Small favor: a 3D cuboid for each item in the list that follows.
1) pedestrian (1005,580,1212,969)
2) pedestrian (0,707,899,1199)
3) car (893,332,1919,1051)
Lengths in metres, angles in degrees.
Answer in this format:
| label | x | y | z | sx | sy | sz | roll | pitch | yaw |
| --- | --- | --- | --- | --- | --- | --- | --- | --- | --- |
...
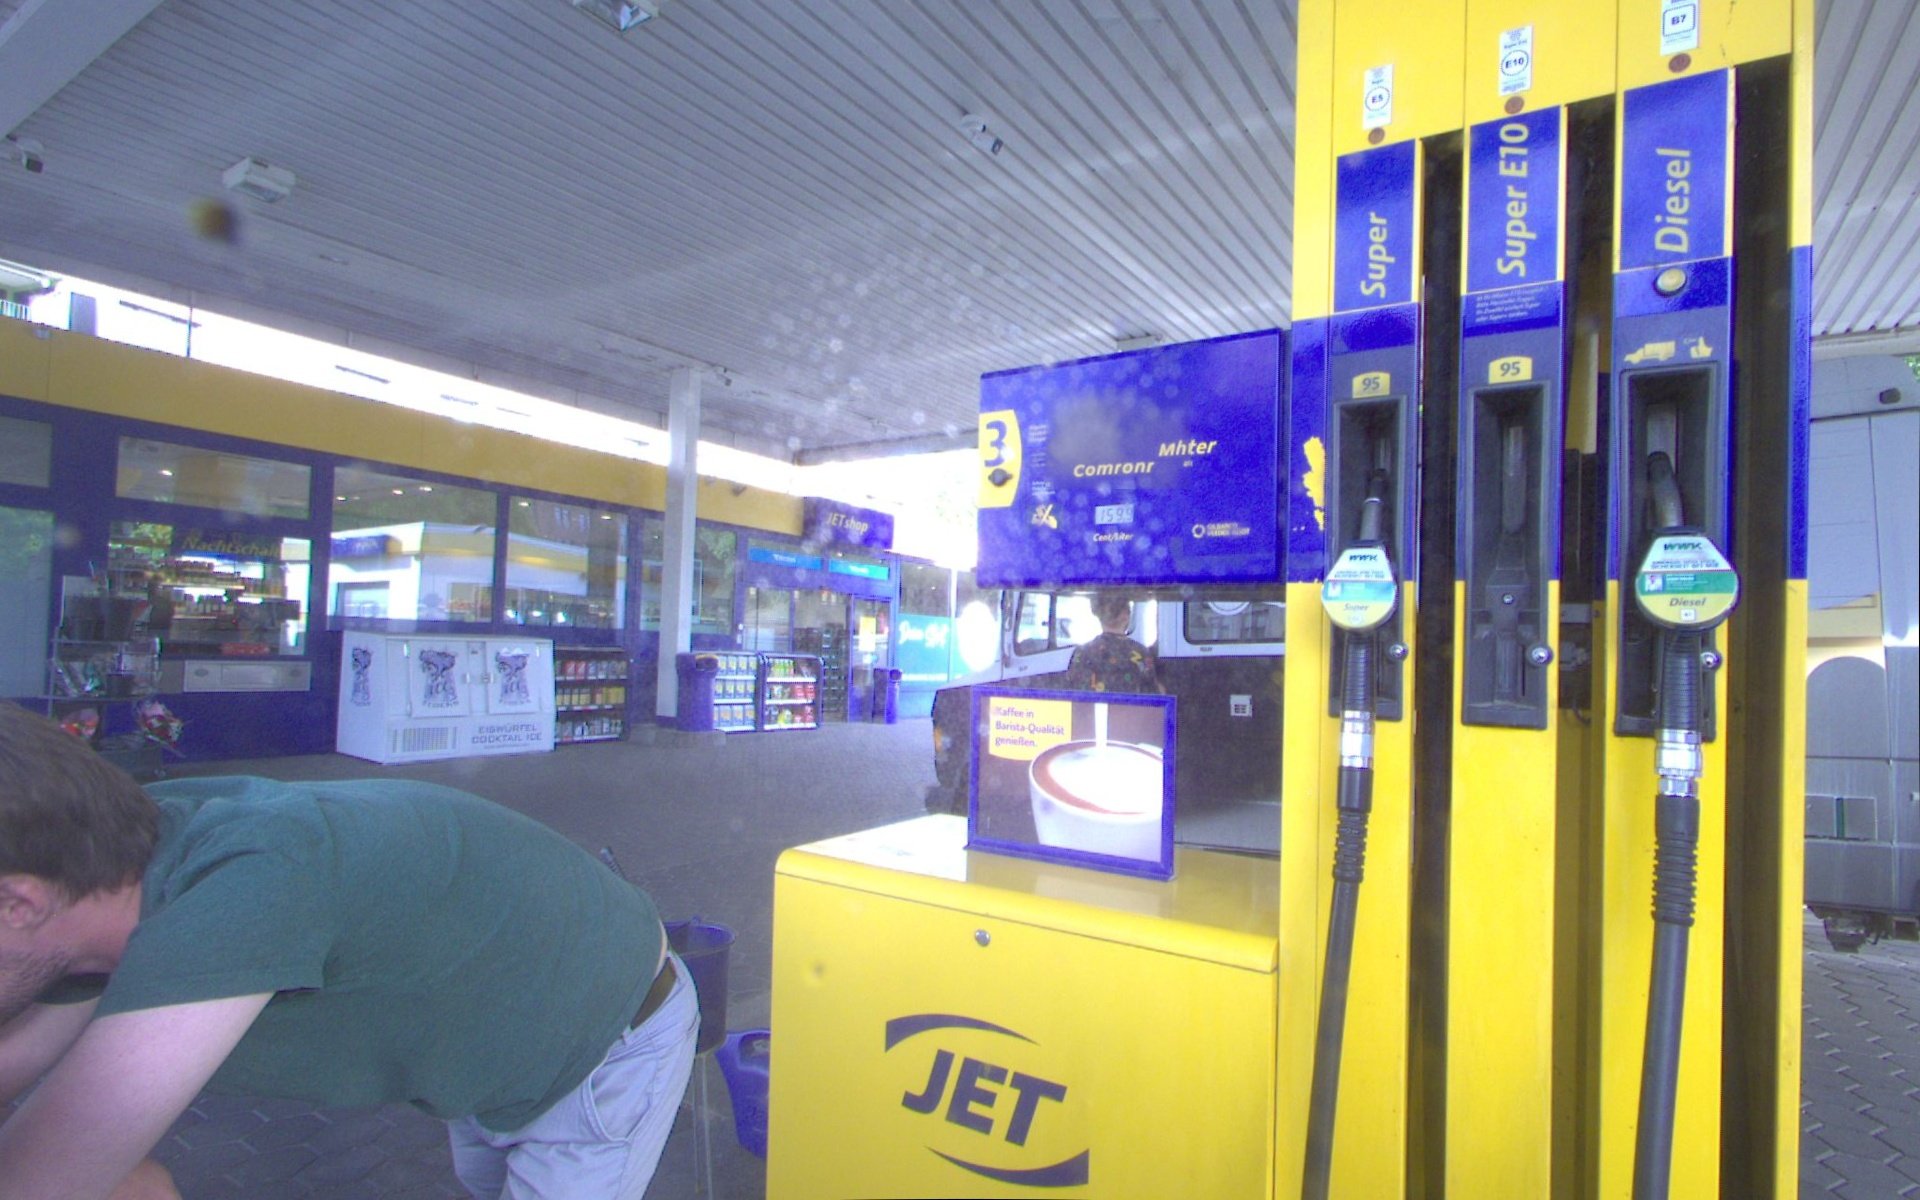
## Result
| label | x | y | z | sx | sy | sz | roll | pitch | yaw |
| --- | --- | --- | --- | --- | --- | --- | --- | --- | --- |
| pedestrian | 0.776 | 0.822 | 5.189 | 0.961 | 1.785 | 0.980 | 0 | -1 | 11 |
| pedestrian | -0.549 | 0.800 | 1.075 | 0.664 | 1.298 | 0.749 | -1 | -1 | 31 |
| car | 2.374 | 0.403 | 6.020 | 5.219 | 2.724 | 2.250 | 0 | -3 | 34 |
